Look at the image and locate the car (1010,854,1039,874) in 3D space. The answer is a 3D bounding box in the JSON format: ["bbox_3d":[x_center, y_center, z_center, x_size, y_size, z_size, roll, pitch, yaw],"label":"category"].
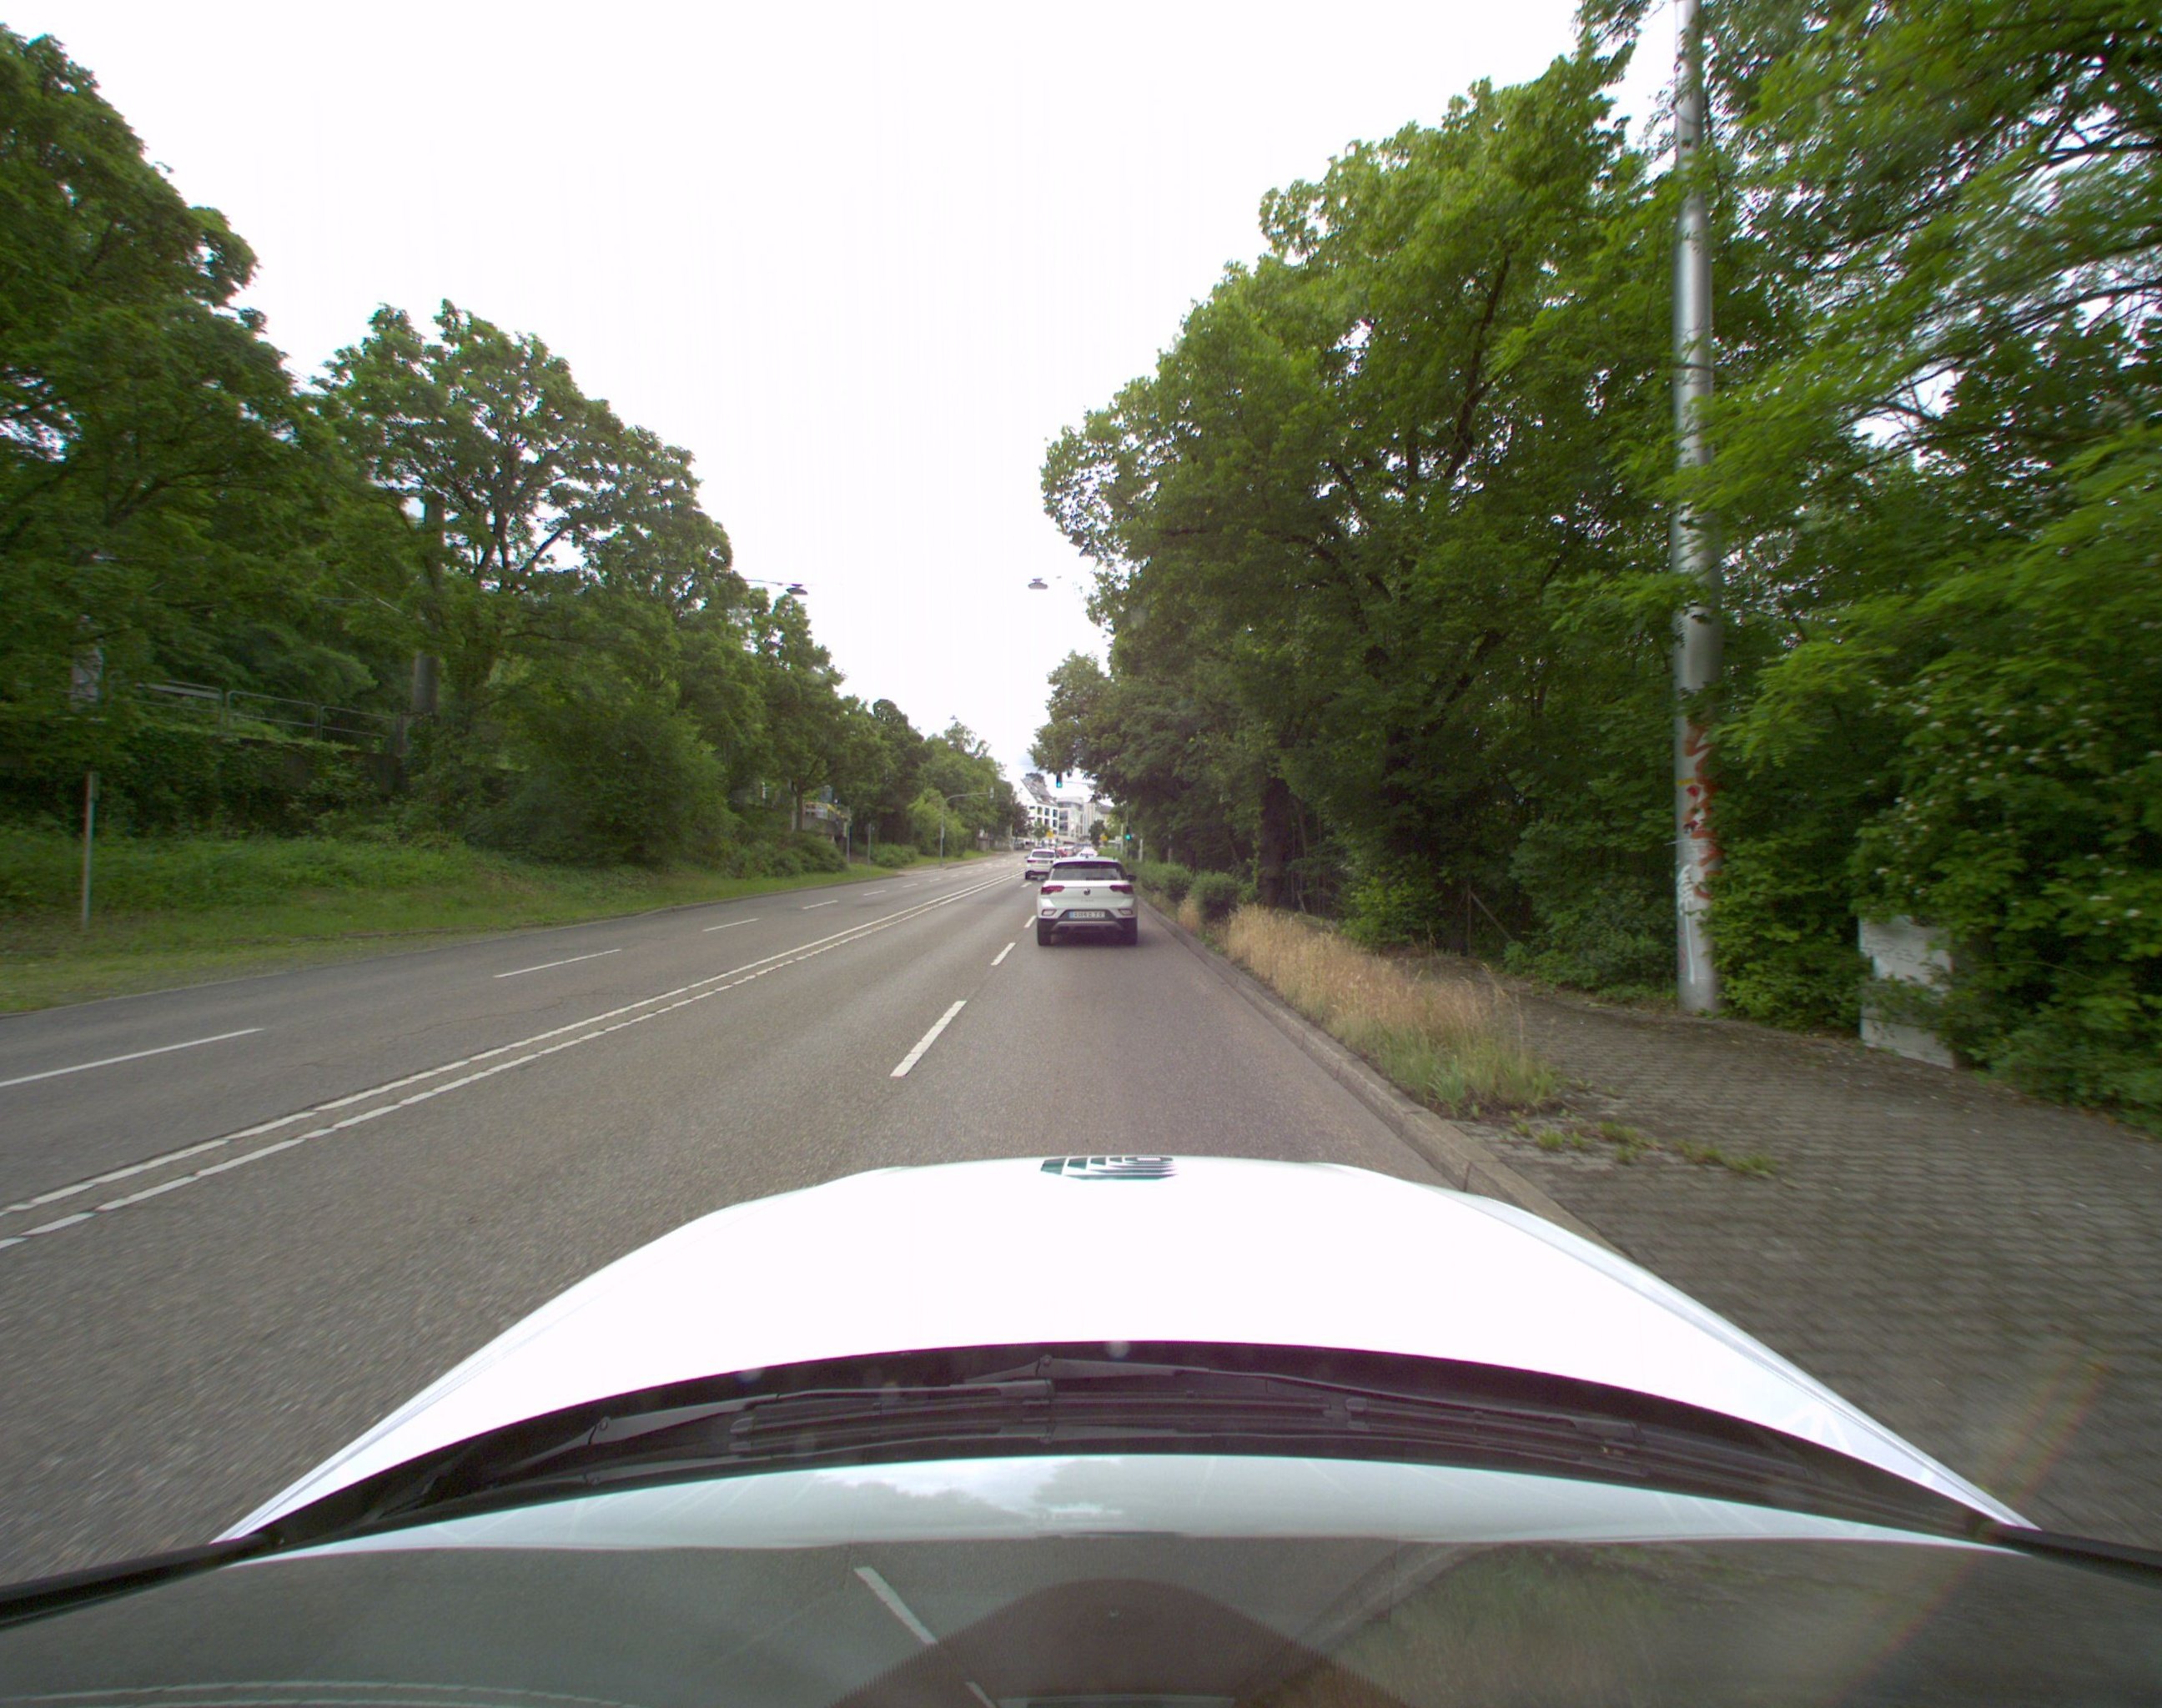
[{"bbox_3d":[-4.466,0.778,63.705,1.948,1.466,3.989,0,1,-8],"label":"car"}]

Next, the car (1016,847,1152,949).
[{"bbox_3d":[-0.095,0.749,15.550,2.000,1.596,3.988,-3,-1,-8],"label":"car"}]

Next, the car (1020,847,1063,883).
[{"bbox_3d":[-2.184,0.551,44.216,1.850,1.702,3.989,3,1,-8],"label":"car"}]
